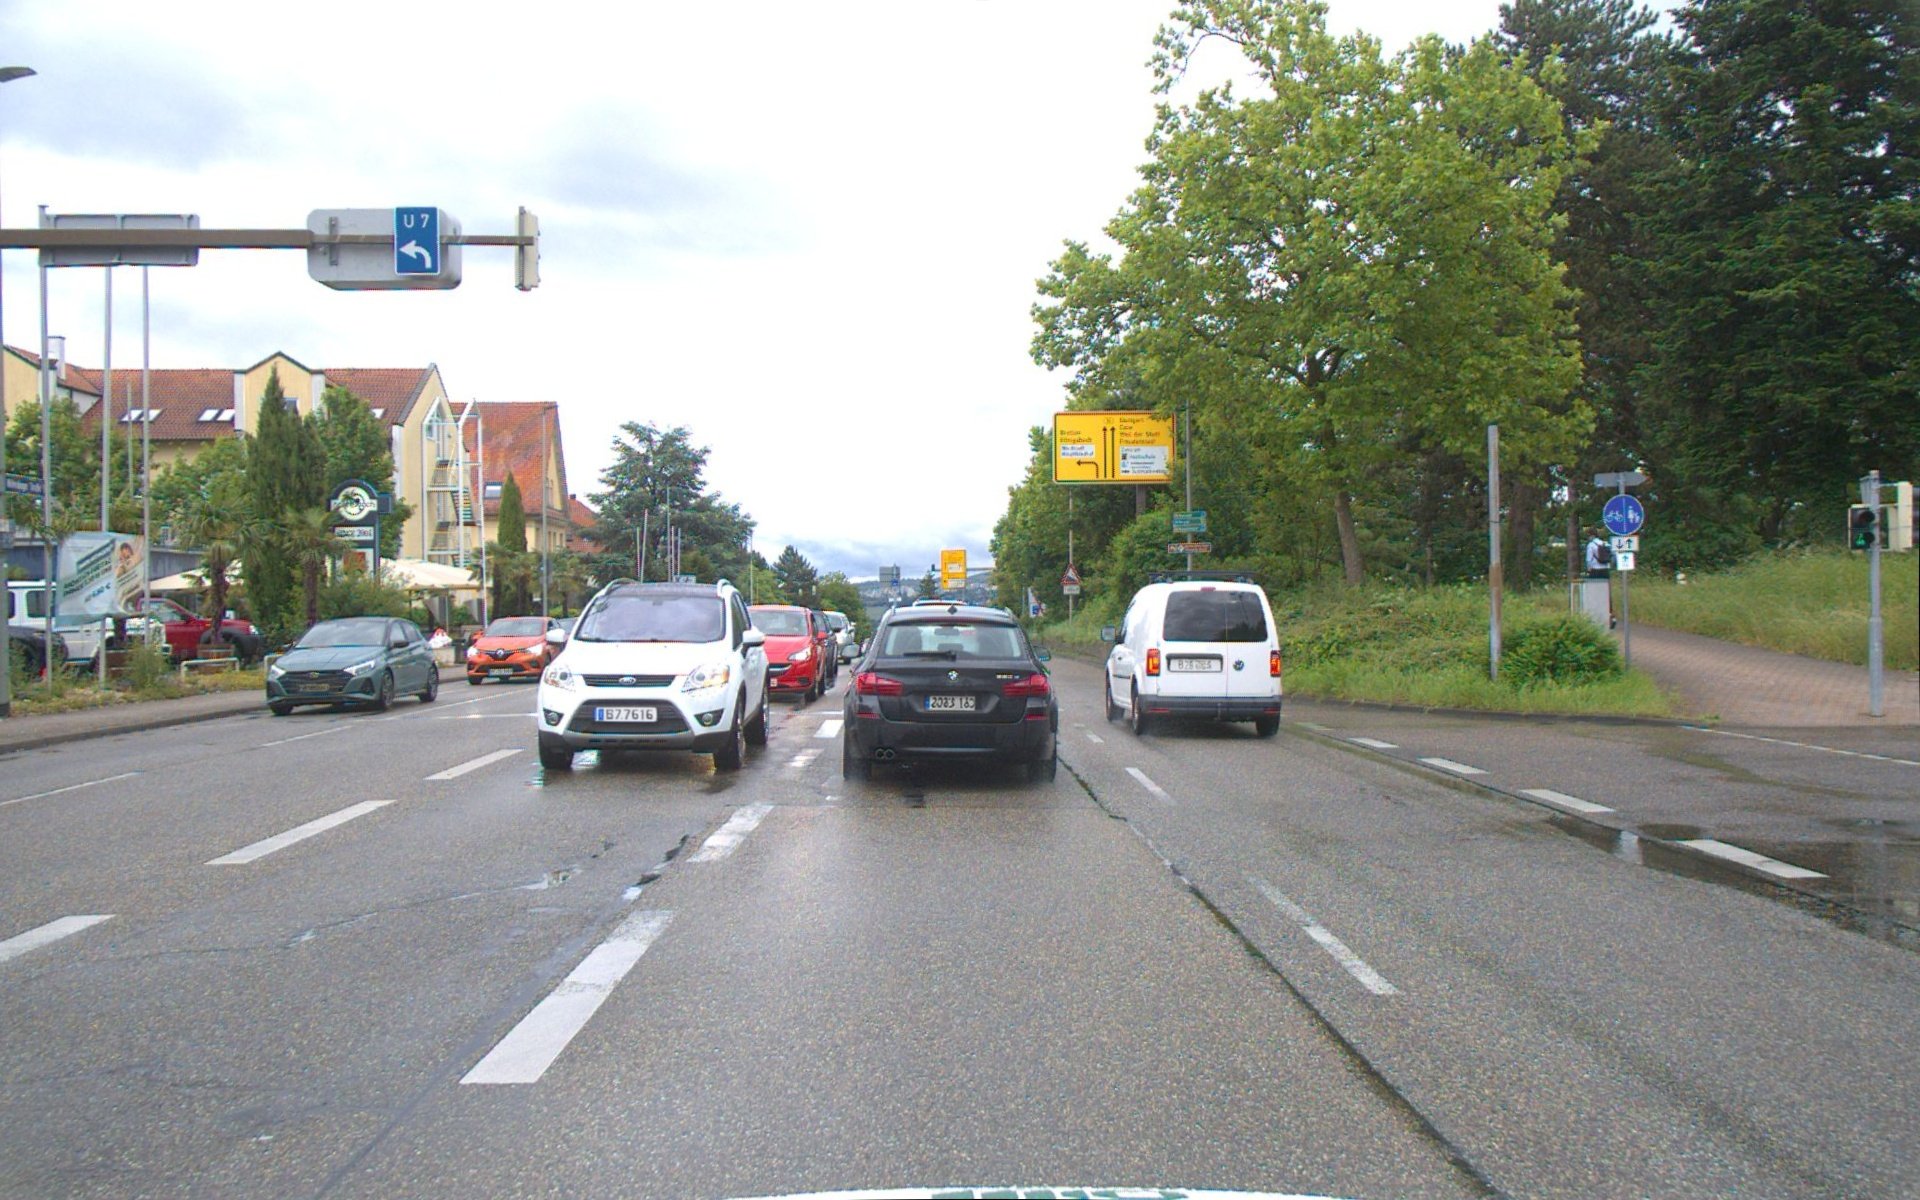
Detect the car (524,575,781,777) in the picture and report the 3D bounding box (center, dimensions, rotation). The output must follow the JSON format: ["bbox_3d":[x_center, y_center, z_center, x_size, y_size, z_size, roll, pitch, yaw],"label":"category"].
[{"bbox_3d":[-2.806,0.625,16.021,1.802,1.678,4.296,-1,0,-2],"label":"car"}]

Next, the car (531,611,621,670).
[{"bbox_3d":[-10.242,1.054,44.365,1.570,1.424,4.403,-1,0,-3],"label":"car"}]

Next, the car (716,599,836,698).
[{"bbox_3d":[-2.937,0.778,27.124,1.599,1.459,4.142,-1,-1,-2],"label":"car"}]

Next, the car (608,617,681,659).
[{"bbox_3d":[-9.772,1.157,51.453,1.590,1.169,3.854,-2,0,-2],"label":"car"}]

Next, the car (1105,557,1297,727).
[{"bbox_3d":[2.893,0.453,20.631,1.729,1.910,3.804,0,1,-2],"label":"car"}]

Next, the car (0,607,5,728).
[{"bbox_3d":[-14.032,0.897,21.016,3.537,1.530,1.663,-2,-1,28],"label":"car"}]

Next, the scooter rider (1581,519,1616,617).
[{"bbox_3d":[13.155,-0.661,34.074,0.490,2.000,0.547,-1,0,-1],"label":"scooter rider"}]

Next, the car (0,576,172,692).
[{"bbox_3d":[-17.568,0.666,31.632,4.339,2.049,1.980,-2,0,-30],"label":"car"}]

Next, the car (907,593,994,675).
[{"bbox_3d":[-0.228,0.706,36.955,1.830,1.703,4.000,0,1,-1],"label":"car"}]

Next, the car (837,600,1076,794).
[{"bbox_3d":[-0.050,0.760,14.970,1.860,1.467,4.000,0,1,-1],"label":"car"}]

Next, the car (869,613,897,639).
[{"bbox_3d":[-5.362,1.827,115.424,1.830,1.703,4.000,0,1,-1],"label":"car"}]

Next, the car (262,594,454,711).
[{"bbox_3d":[-9.545,0.771,26.532,1.642,1.646,3.999,-2,1,-1],"label":"car"}]

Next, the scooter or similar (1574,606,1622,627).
[{"bbox_3d":[13.165,0.333,34.152,0.477,0.410,1.255,-1,1,-1],"label":"scooter or similar"}]

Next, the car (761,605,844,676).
[{"bbox_3d":[-3.461,0.853,36.865,1.569,1.466,3.947,1,0,-2],"label":"car"}]

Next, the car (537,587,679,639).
[{"bbox_3d":[-10.761,0.416,50.548,3.947,1.503,1.643,-1,-1,19],"label":"car"}]

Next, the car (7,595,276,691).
[{"bbox_3d":[-17.269,0.904,35.021,4.943,1.732,1.980,-2,-2,-29],"label":"car"}]

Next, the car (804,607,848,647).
[{"bbox_3d":[-5.533,1.117,68.617,1.752,1.609,4.236,0,-1,-4],"label":"car"}]

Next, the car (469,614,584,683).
[{"bbox_3d":[-9.621,1.047,36.978,1.590,1.355,3.945,-2,0,-2],"label":"car"}]

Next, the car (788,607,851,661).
[{"bbox_3d":[-3.988,0.965,47.289,1.569,1.466,3.947,1,-1,-2],"label":"car"}]
